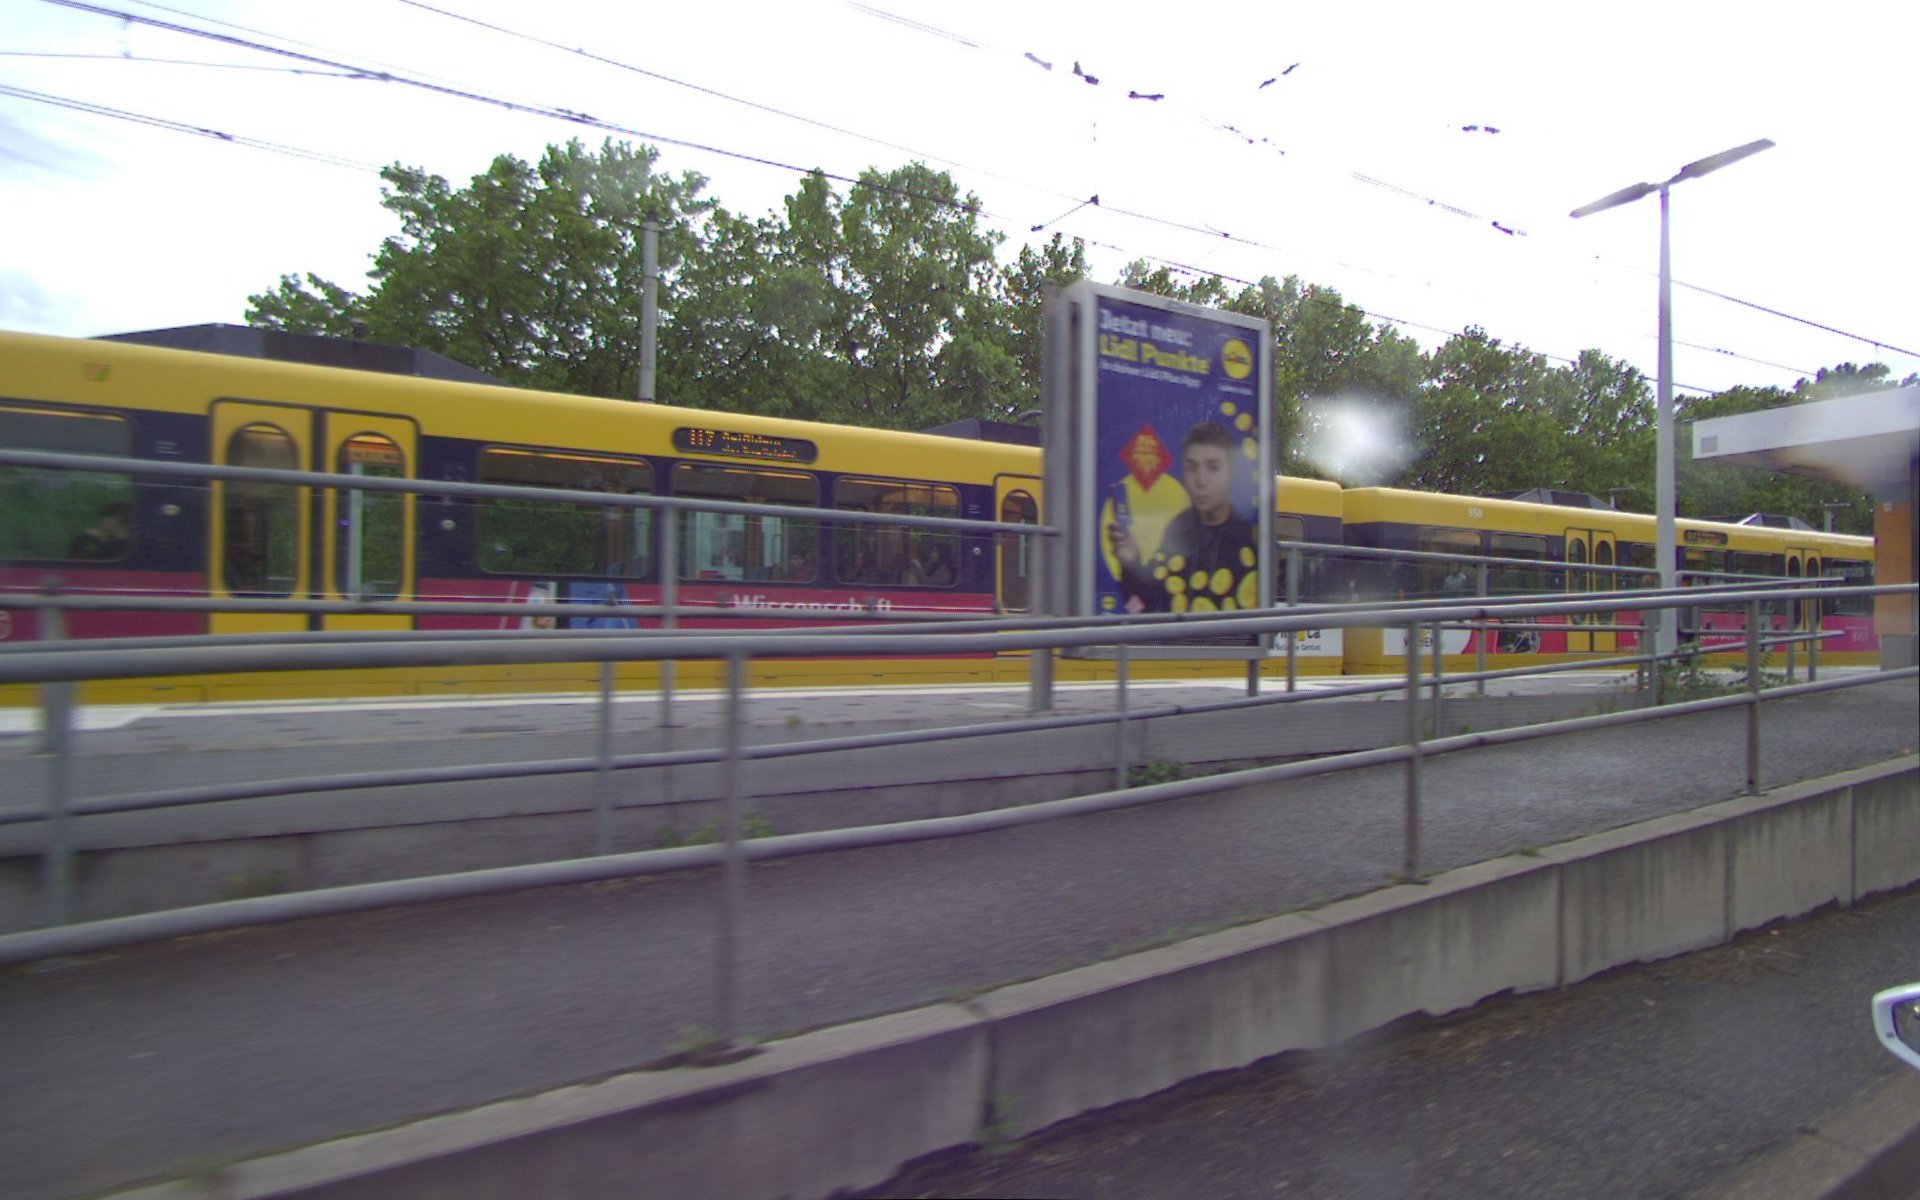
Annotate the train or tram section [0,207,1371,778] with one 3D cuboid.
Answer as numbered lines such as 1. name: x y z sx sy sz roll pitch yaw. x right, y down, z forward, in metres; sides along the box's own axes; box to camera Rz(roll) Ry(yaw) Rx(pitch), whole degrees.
1. train or tram section: -3.222 -0.628 10.763 19.099 4.026 2.855 2 1 -30

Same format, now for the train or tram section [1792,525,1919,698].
1. train or tram section: 30.576 0.553 28.308 19.065 4.024 2.860 2 1 -25

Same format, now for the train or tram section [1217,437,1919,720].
1. train or tram section: 13.468 -0.026 19.914 19.085 4.007 2.857 2 1 -28
